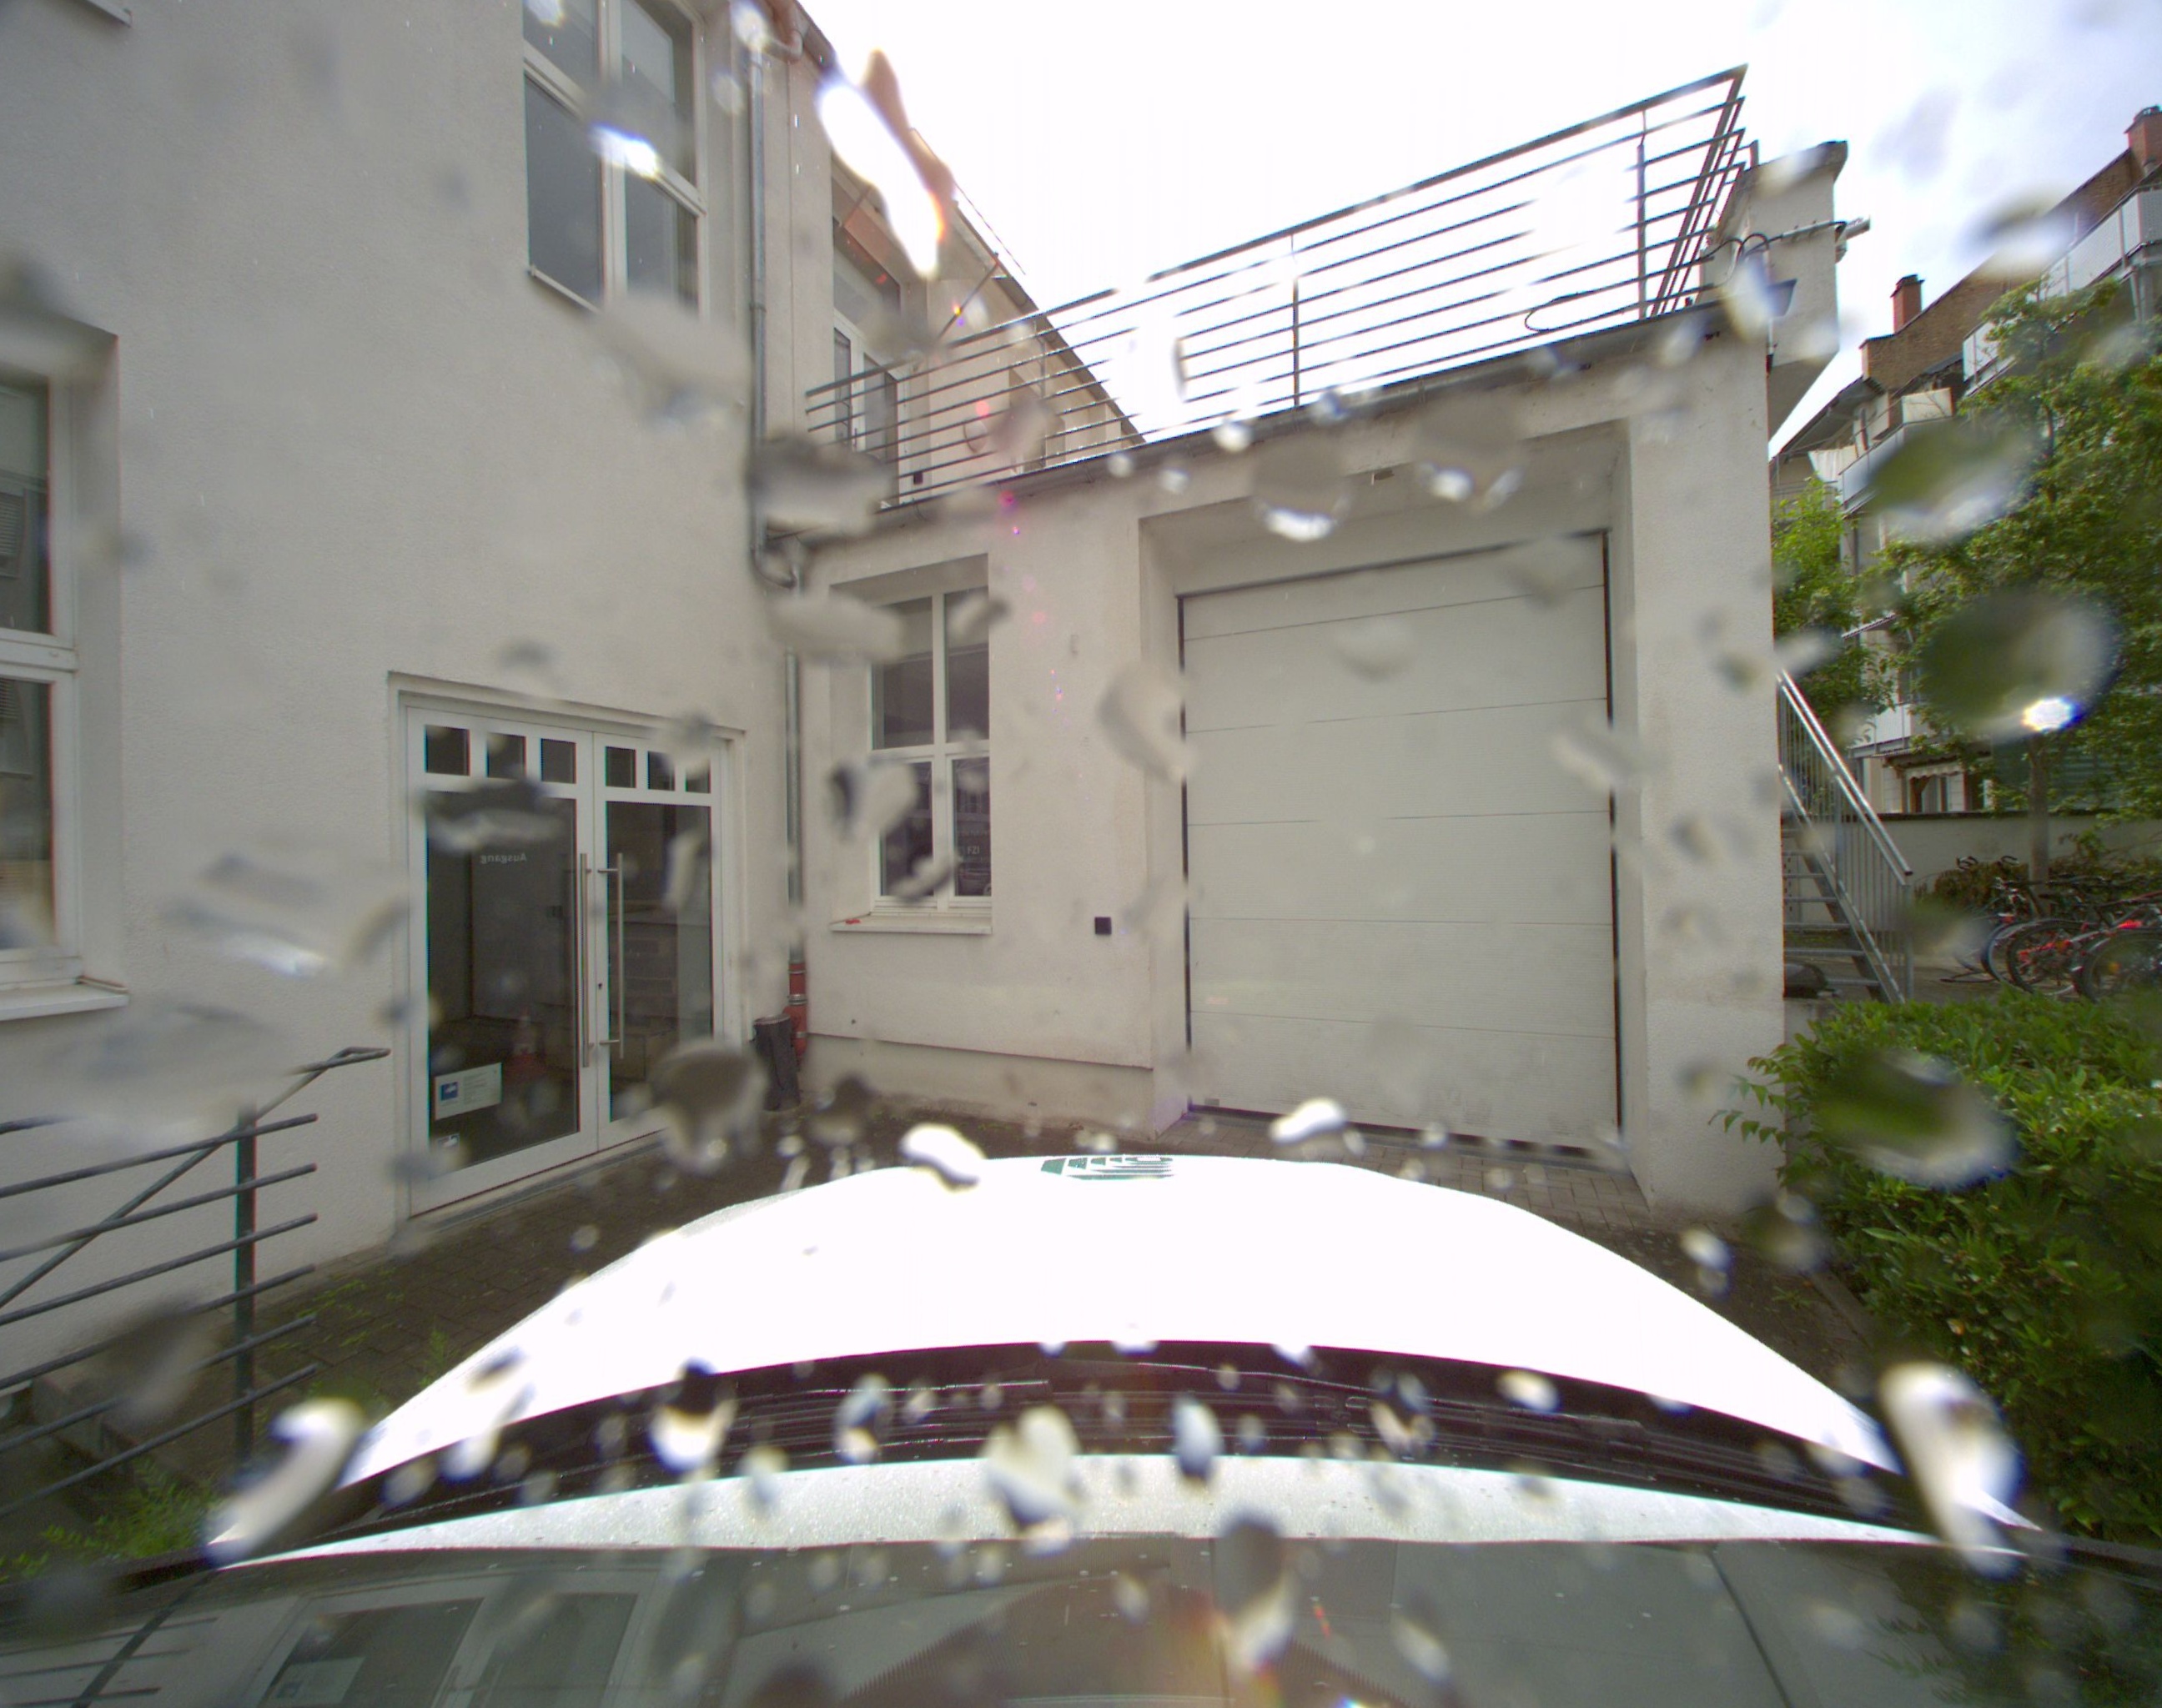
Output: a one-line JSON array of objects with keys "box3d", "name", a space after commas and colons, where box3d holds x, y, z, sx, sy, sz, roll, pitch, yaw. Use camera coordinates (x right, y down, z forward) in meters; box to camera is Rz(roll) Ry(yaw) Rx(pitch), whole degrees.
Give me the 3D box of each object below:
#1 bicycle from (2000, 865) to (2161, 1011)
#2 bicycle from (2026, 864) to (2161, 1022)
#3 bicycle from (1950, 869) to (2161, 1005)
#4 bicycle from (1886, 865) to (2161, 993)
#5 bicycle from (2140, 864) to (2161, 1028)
[{"box3d": [9.091, 0.648, 6.164, 2.818, 1.078, 0.693, 0, 1, 22], "name": "bicycle"}, {"box3d": [8.624, 0.630, 5.568, 2.818, 1.078, 0.693, 0, 1, 22], "name": "bicycle"}, {"box3d": [9.373, 0.696, 6.826, 2.818, 1.078, 0.693, 0, 1, 22], "name": "bicycle"}, {"box3d": [9.482, 0.673, 7.549, 2.818, 1.078, 0.693, 0, 1, 22], "name": "bicycle"}, {"box3d": [8.408, 0.621, 4.663, 2.898, 1.078, 0.693, 0, 1, 22], "name": "bicycle"}]
